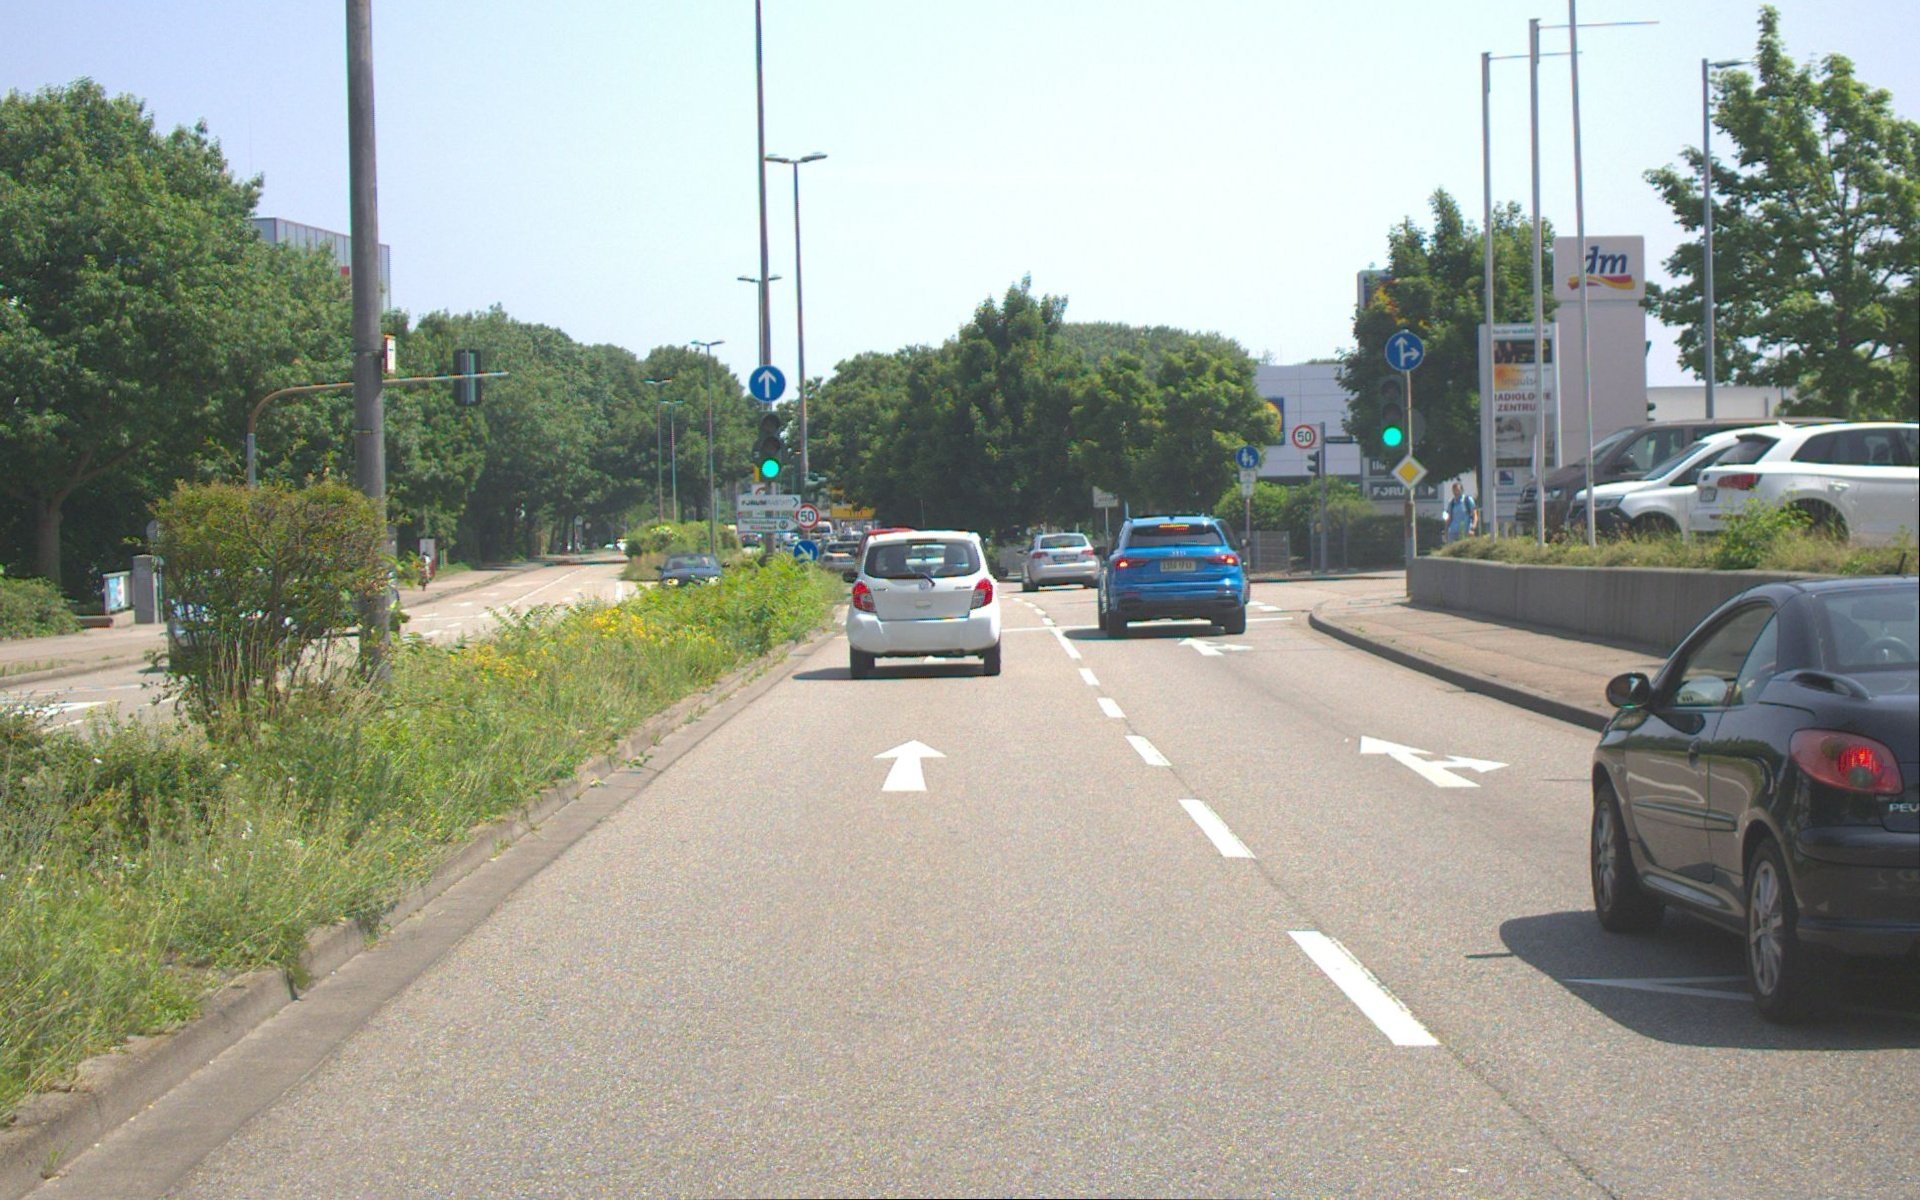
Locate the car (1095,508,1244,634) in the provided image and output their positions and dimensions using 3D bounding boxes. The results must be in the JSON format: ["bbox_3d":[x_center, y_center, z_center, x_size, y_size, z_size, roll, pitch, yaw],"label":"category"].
[{"bbox_3d":[2.808,-0.423,46.701,1.828,1.574,3.606,-1,2,1],"label":"car"}]

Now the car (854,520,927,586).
[{"bbox_3d":[-1.935,-1.306,94.841,1.775,1.734,4.001,-1,1,-4],"label":"car"}]

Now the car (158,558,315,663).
[{"bbox_3d":[-10.573,0.116,50.487,1.735,1.408,4.372,-2,1,-5],"label":"car"}]

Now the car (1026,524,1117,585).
[{"bbox_3d":[2.734,-1.143,85.320,1.993,1.415,4.000,-2,1,-1],"label":"car"}]

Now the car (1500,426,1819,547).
[{"bbox_3d":[9.837,-1.588,48.551,3.986,1.539,2.000,-2,1,-3],"label":"car"}]

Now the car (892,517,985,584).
[{"bbox_3d":[-0.512,-1.133,78.482,1.993,1.437,4.000,-1,1,-2],"label":"car"}]

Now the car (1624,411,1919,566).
[{"bbox_3d":[9.680,-1.222,37.217,4.535,1.539,2.000,-2,1,-1],"label":"car"}]

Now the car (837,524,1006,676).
[{"bbox_3d":[-0.392,-0.039,37.394,1.748,1.515,3.746,0,2,0],"label":"car"}]

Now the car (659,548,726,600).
[{"bbox_3d":[-6.831,-0.677,87.650,1.573,1.264,3.731,-2,1,-6],"label":"car"}]

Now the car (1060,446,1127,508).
[{"bbox_3d":[4.520,-4.171,116.890,1.769,2.006,3.992,-2,2,-4],"label":"car"}]

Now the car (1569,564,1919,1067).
[{"bbox_3d":[3.229,0.610,11.711,1.627,1.359,3.606,0,2,0],"label":"car"}]

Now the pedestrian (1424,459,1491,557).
[{"bbox_3d":[8.298,-1.528,57.336,0.775,1.602,1.083,-1,1,27],"label":"pedestrian"}]

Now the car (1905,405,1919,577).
[{"bbox_3d":[10.188,-0.990,28.981,3.920,1.447,1.765,-2,1,-18],"label":"car"}]

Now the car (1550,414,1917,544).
[{"bbox_3d":[10.242,-1.596,45.729,4.346,1.539,2.000,-2,1,-3],"label":"car"}]

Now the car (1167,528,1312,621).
[{"bbox_3d":[4.458,-0.424,54.439,1.459,1.371,3.488,-1,1,19],"label":"car"}]

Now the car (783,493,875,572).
[{"bbox_3d":[-2.984,-1.539,77.504,1.819,1.656,4.001,-1,2,-5],"label":"car"}]

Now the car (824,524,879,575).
[{"bbox_3d":[-3.730,-1.744,118.676,1.797,1.684,4.000,-2,1,-1],"label":"car"}]
